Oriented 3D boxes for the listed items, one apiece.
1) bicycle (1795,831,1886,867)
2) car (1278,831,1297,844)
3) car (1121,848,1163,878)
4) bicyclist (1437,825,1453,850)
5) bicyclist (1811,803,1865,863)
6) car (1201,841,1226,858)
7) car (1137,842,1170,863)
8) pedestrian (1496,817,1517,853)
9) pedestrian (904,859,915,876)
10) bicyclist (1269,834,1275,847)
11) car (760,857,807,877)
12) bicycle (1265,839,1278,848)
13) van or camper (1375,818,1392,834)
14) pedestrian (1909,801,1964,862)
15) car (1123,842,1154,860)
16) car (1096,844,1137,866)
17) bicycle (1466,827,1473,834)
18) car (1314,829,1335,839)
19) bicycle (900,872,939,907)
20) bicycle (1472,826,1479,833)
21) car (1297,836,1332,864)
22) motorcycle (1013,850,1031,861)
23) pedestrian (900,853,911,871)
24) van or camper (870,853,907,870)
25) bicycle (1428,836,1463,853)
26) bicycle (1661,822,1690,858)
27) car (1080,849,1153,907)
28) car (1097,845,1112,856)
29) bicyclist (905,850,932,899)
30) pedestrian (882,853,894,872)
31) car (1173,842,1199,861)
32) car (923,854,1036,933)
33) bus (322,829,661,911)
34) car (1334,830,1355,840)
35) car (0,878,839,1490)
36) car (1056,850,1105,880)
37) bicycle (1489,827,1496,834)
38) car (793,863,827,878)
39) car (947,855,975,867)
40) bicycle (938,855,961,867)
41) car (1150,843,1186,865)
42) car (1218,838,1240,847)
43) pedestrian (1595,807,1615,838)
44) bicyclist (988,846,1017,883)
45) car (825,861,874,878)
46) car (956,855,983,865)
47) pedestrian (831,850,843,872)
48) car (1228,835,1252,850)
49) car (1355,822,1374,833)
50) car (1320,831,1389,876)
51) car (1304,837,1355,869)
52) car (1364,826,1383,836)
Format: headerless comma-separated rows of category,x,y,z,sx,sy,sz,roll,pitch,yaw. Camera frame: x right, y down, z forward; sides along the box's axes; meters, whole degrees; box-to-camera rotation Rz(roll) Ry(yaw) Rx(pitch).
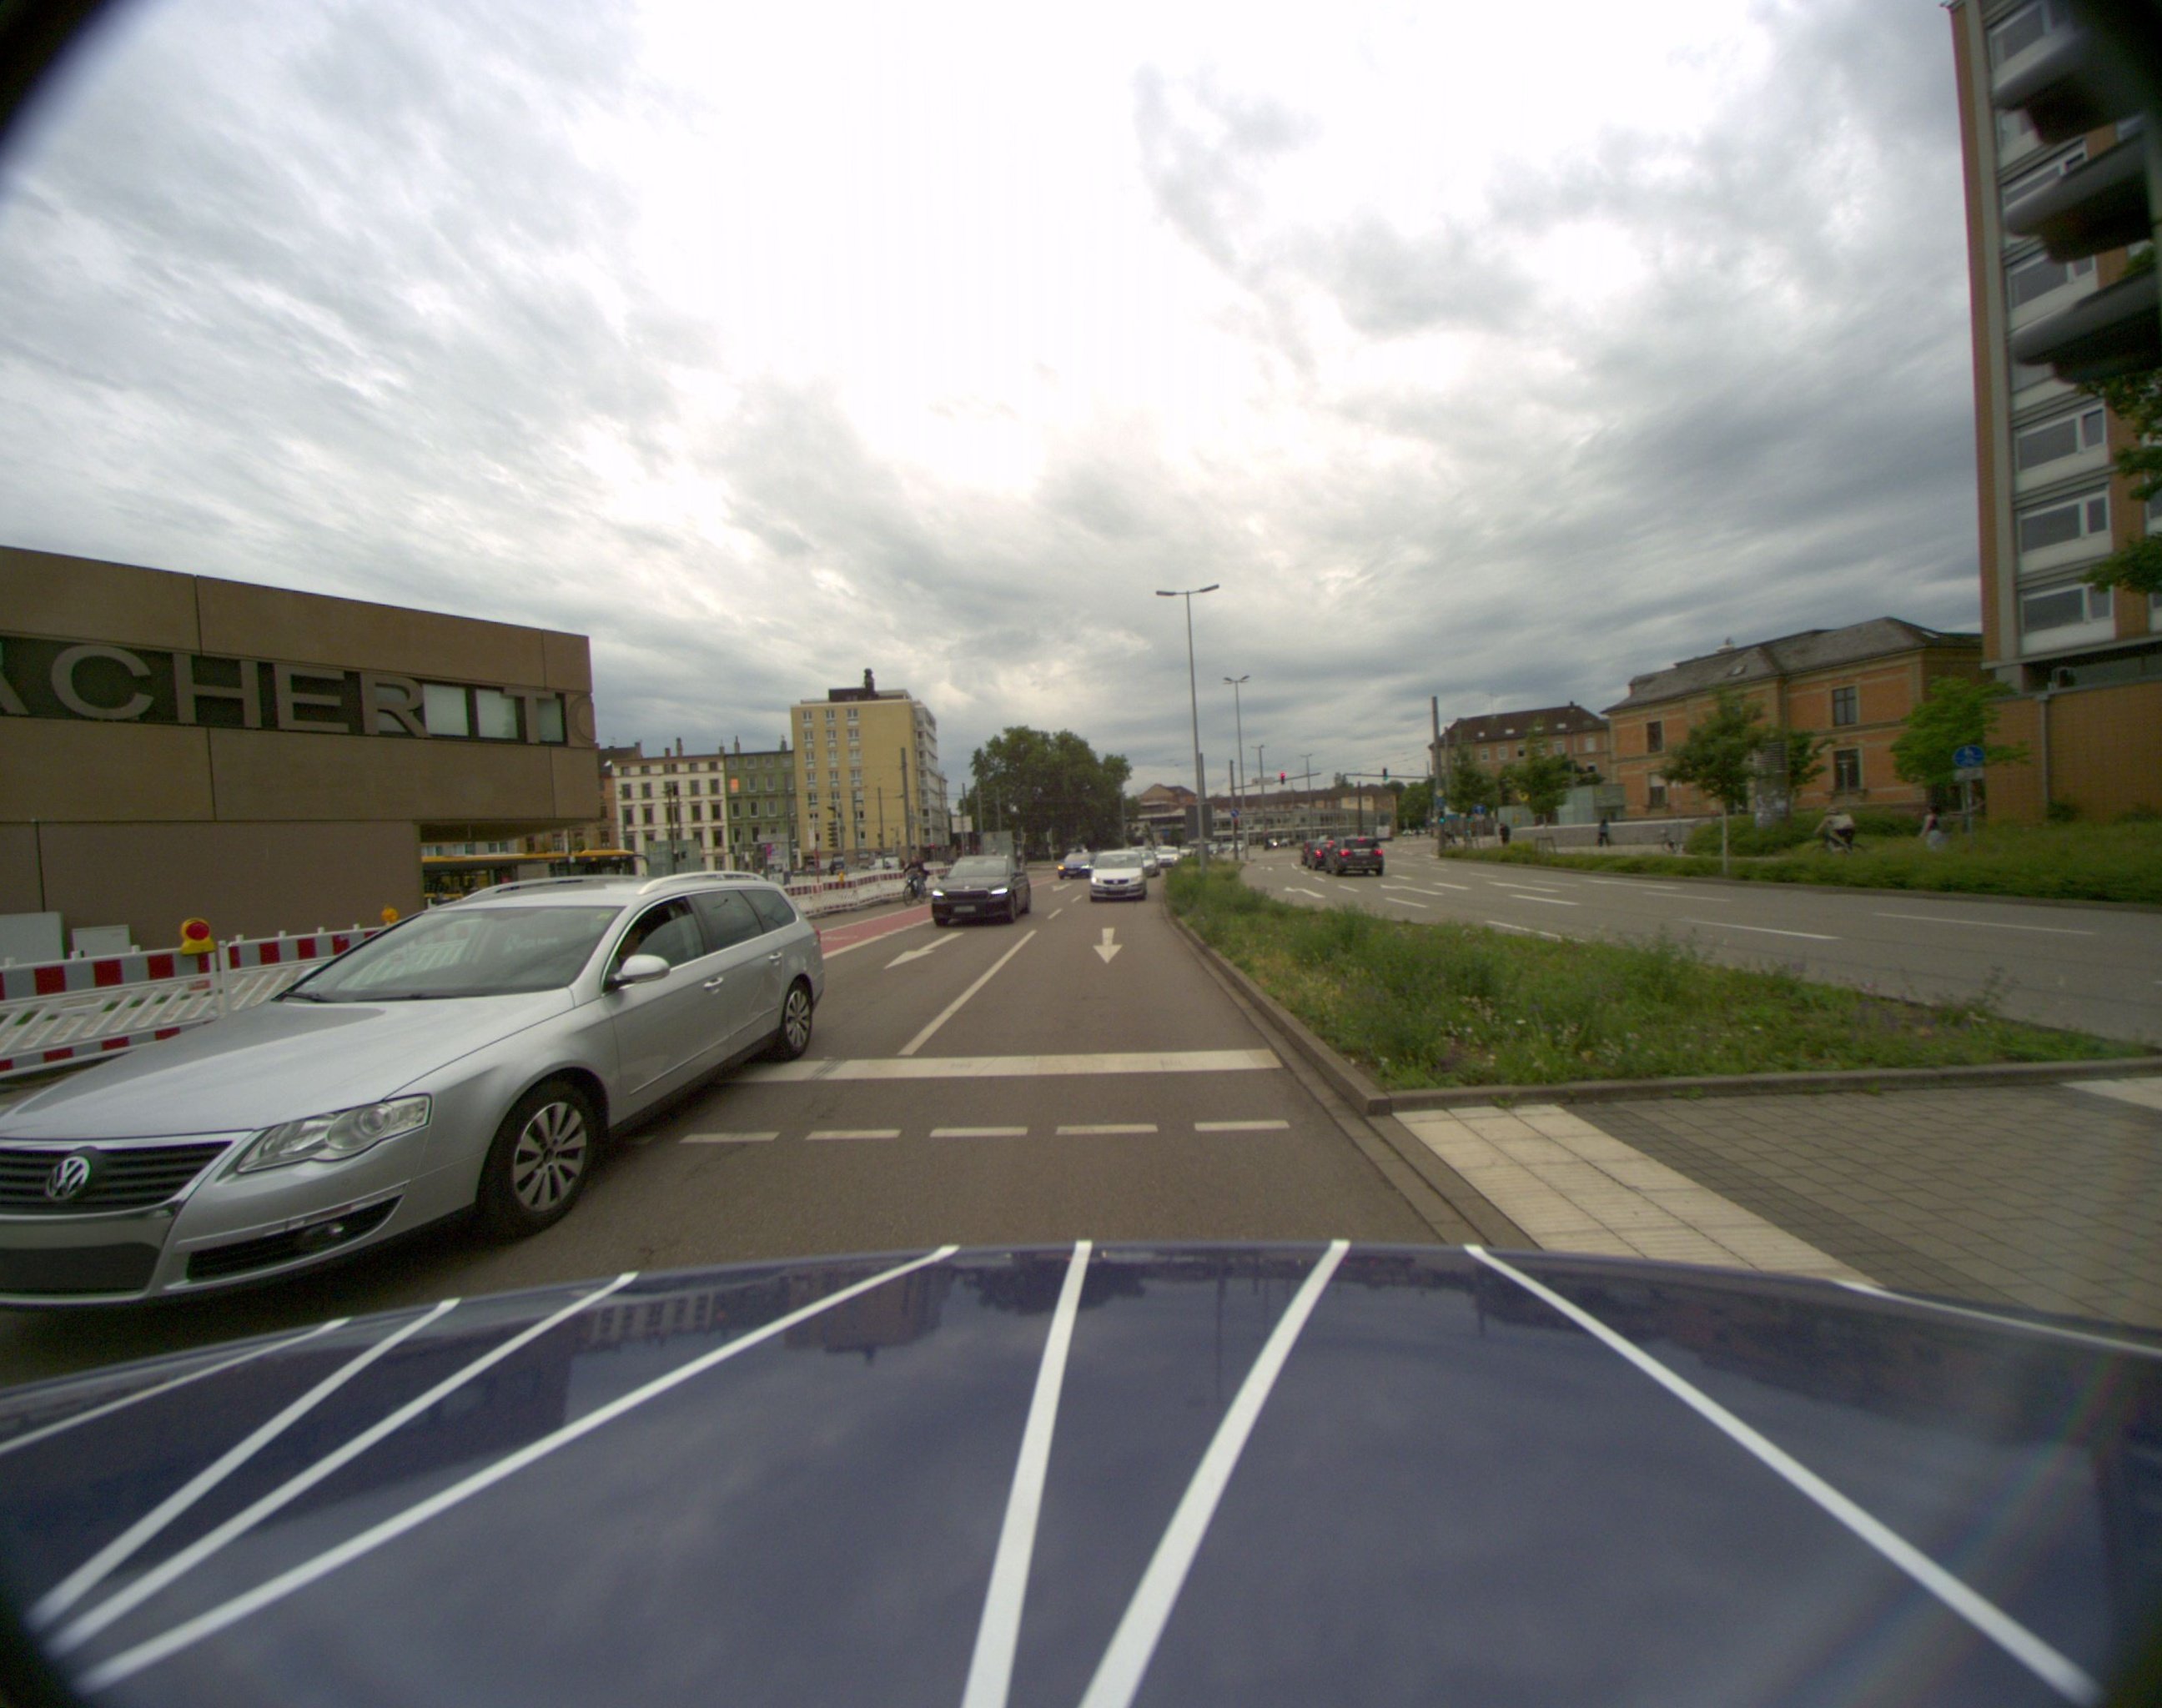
bicycle,20.681,-0.151,20.746,0.716,0.877,1.883,-3,2,7
car,35.016,-2.769,128.617,1.995,2.002,4.006,-3,1,30
car,3.279,0.429,40.527,1.808,1.398,3.985,-3,1,10
bicyclist,25.278,-1.135,52.769,0.813,1.647,0.794,-3,2,20
bicyclist,20.650,-0.580,20.742,0.716,1.561,0.712,-3,2,6
car,17.328,-0.579,98.957,1.995,2.002,4.006,-3,1,27
car,7.657,-0.198,79.757,1.995,2.002,4.006,-3,1,27
pedestrian,23.875,-1.071,42.625,0.820,1.969,0.659,-2,1,16
pedestrian,-16.587,1.282,73.450,0.769,1.602,0.949,-4,1,-25
bicyclist,25.188,-1.739,100.229,0.655,1.630,0.517,-3,1,-9
car,-30.889,1.354,78.987,3.997,1.740,2.000,-3,1,0
bicycle,25.155,-1.368,100.261,1.614,1.064,0.527,-3,1,-10
van or camper,48.714,-4.474,122.278,2.281,2.513,5.581,-2,1,23
pedestrian,22.534,-0.588,20.021,0.562,1.533,0.755,-5,2,7
car,5.352,-0.303,70.123,1.996,1.499,4.004,-3,1,17
car,2.613,0.056,55.133,1.767,1.362,4.427,-2,1,19
bicycle,59.392,-3.650,116.230,0.835,1.024,2.400,-3,1,29
car,45.858,-3.751,143.062,2.368,1.745,5.138,-3,1,33
bicycle,-5.704,1.240,26.939,0.626,1.049,2.127,-3,1,8
bicycle,60.110,-3.725,115.807,0.753,1.024,2.400,-3,1,29
car,13.948,-0.263,45.493,1.621,1.507,3.667,-2,1,12
motorcycle,-7.934,0.183,101.891,2.293,1.358,1.046,-3,1,-11
pedestrian,-17.885,0.826,77.358,0.789,1.747,1.047,-3,1,-24
van or camper,-23.697,0.945,93.434,2.176,1.967,5.452,-4,1,-39
bicycle,25.299,-0.664,52.798,2.115,1.022,0.796,-3,2,20
bicycle,26.035,-0.628,33.292,0.847,1.440,2.258,-3,1,35
car,1.274,0.688,24.944,1.862,1.609,5.064,-2,1,8
car,4.714,-0.620,151.899,1.953,1.589,4.230,-3,7,18
bicyclist,-5.750,0.703,26.879,0.617,1.680,0.806,-3,1,7
pedestrian,-17.155,0.713,67.582,0.785,1.634,0.902,-4,1,-25
car,11.992,-0.306,86.760,1.996,2.002,4.005,-3,1,21
car,-2.385,0.874,19.130,1.907,1.649,4.515,-2,1,4
bus,-28.997,0.594,38.488,3.018,3.249,13.066,-2,1,42
car,54.064,-3.853,156.043,2.368,1.899,5.138,-3,1,39
car,-3.116,1.006,4.410,1.724,1.474,4.628,-2,1,2
car,0.043,0.549,42.581,1.768,1.428,4.760,-3,1,12
bicycle,62.065,-3.507,114.569,0.753,1.024,2.400,-3,1,29
car,-32.715,1.973,91.620,3.728,1.573,1.895,-3,1,34
car,-17.734,1.028,112.261,4.000,1.455,1.998,-3,1,-10
bicycle,-17.687,0.940,102.202,2.782,1.369,0.903,-3,1,-1
car,6.541,-0.033,56.715,1.970,1.447,4.197,-3,1,15
car,28.786,-2.288,147.521,3.899,1.433,1.735,-3,1,20
pedestrian,30.908,-1.849,44.858,0.748,1.724,0.686,-2,1,16
bicyclist,-3.586,0.468,34.777,0.789,1.608,0.934,-4,1,25
car,-23.938,1.603,78.713,4.442,1.477,2.000,-3,1,0
car,-17.269,0.952,117.502,4.001,1.327,1.835,-3,1,-11
pedestrian,-21.150,0.617,65.827,0.785,1.901,0.902,-4,1,-25
car,22.865,-1.703,109.138,1.995,2.002,4.006,-3,1,30
car,61.740,-5.824,165.242,2.368,2.121,5.138,-2,1,39
car,11.471,-0.053,32.136,1.874,1.715,4.715,-2,1,9
car,12.384,-0.106,38.066,1.873,1.499,4.482,-1,1,11
car,65.533,-5.189,170.306,2.368,2.010,5.138,-2,1,39
